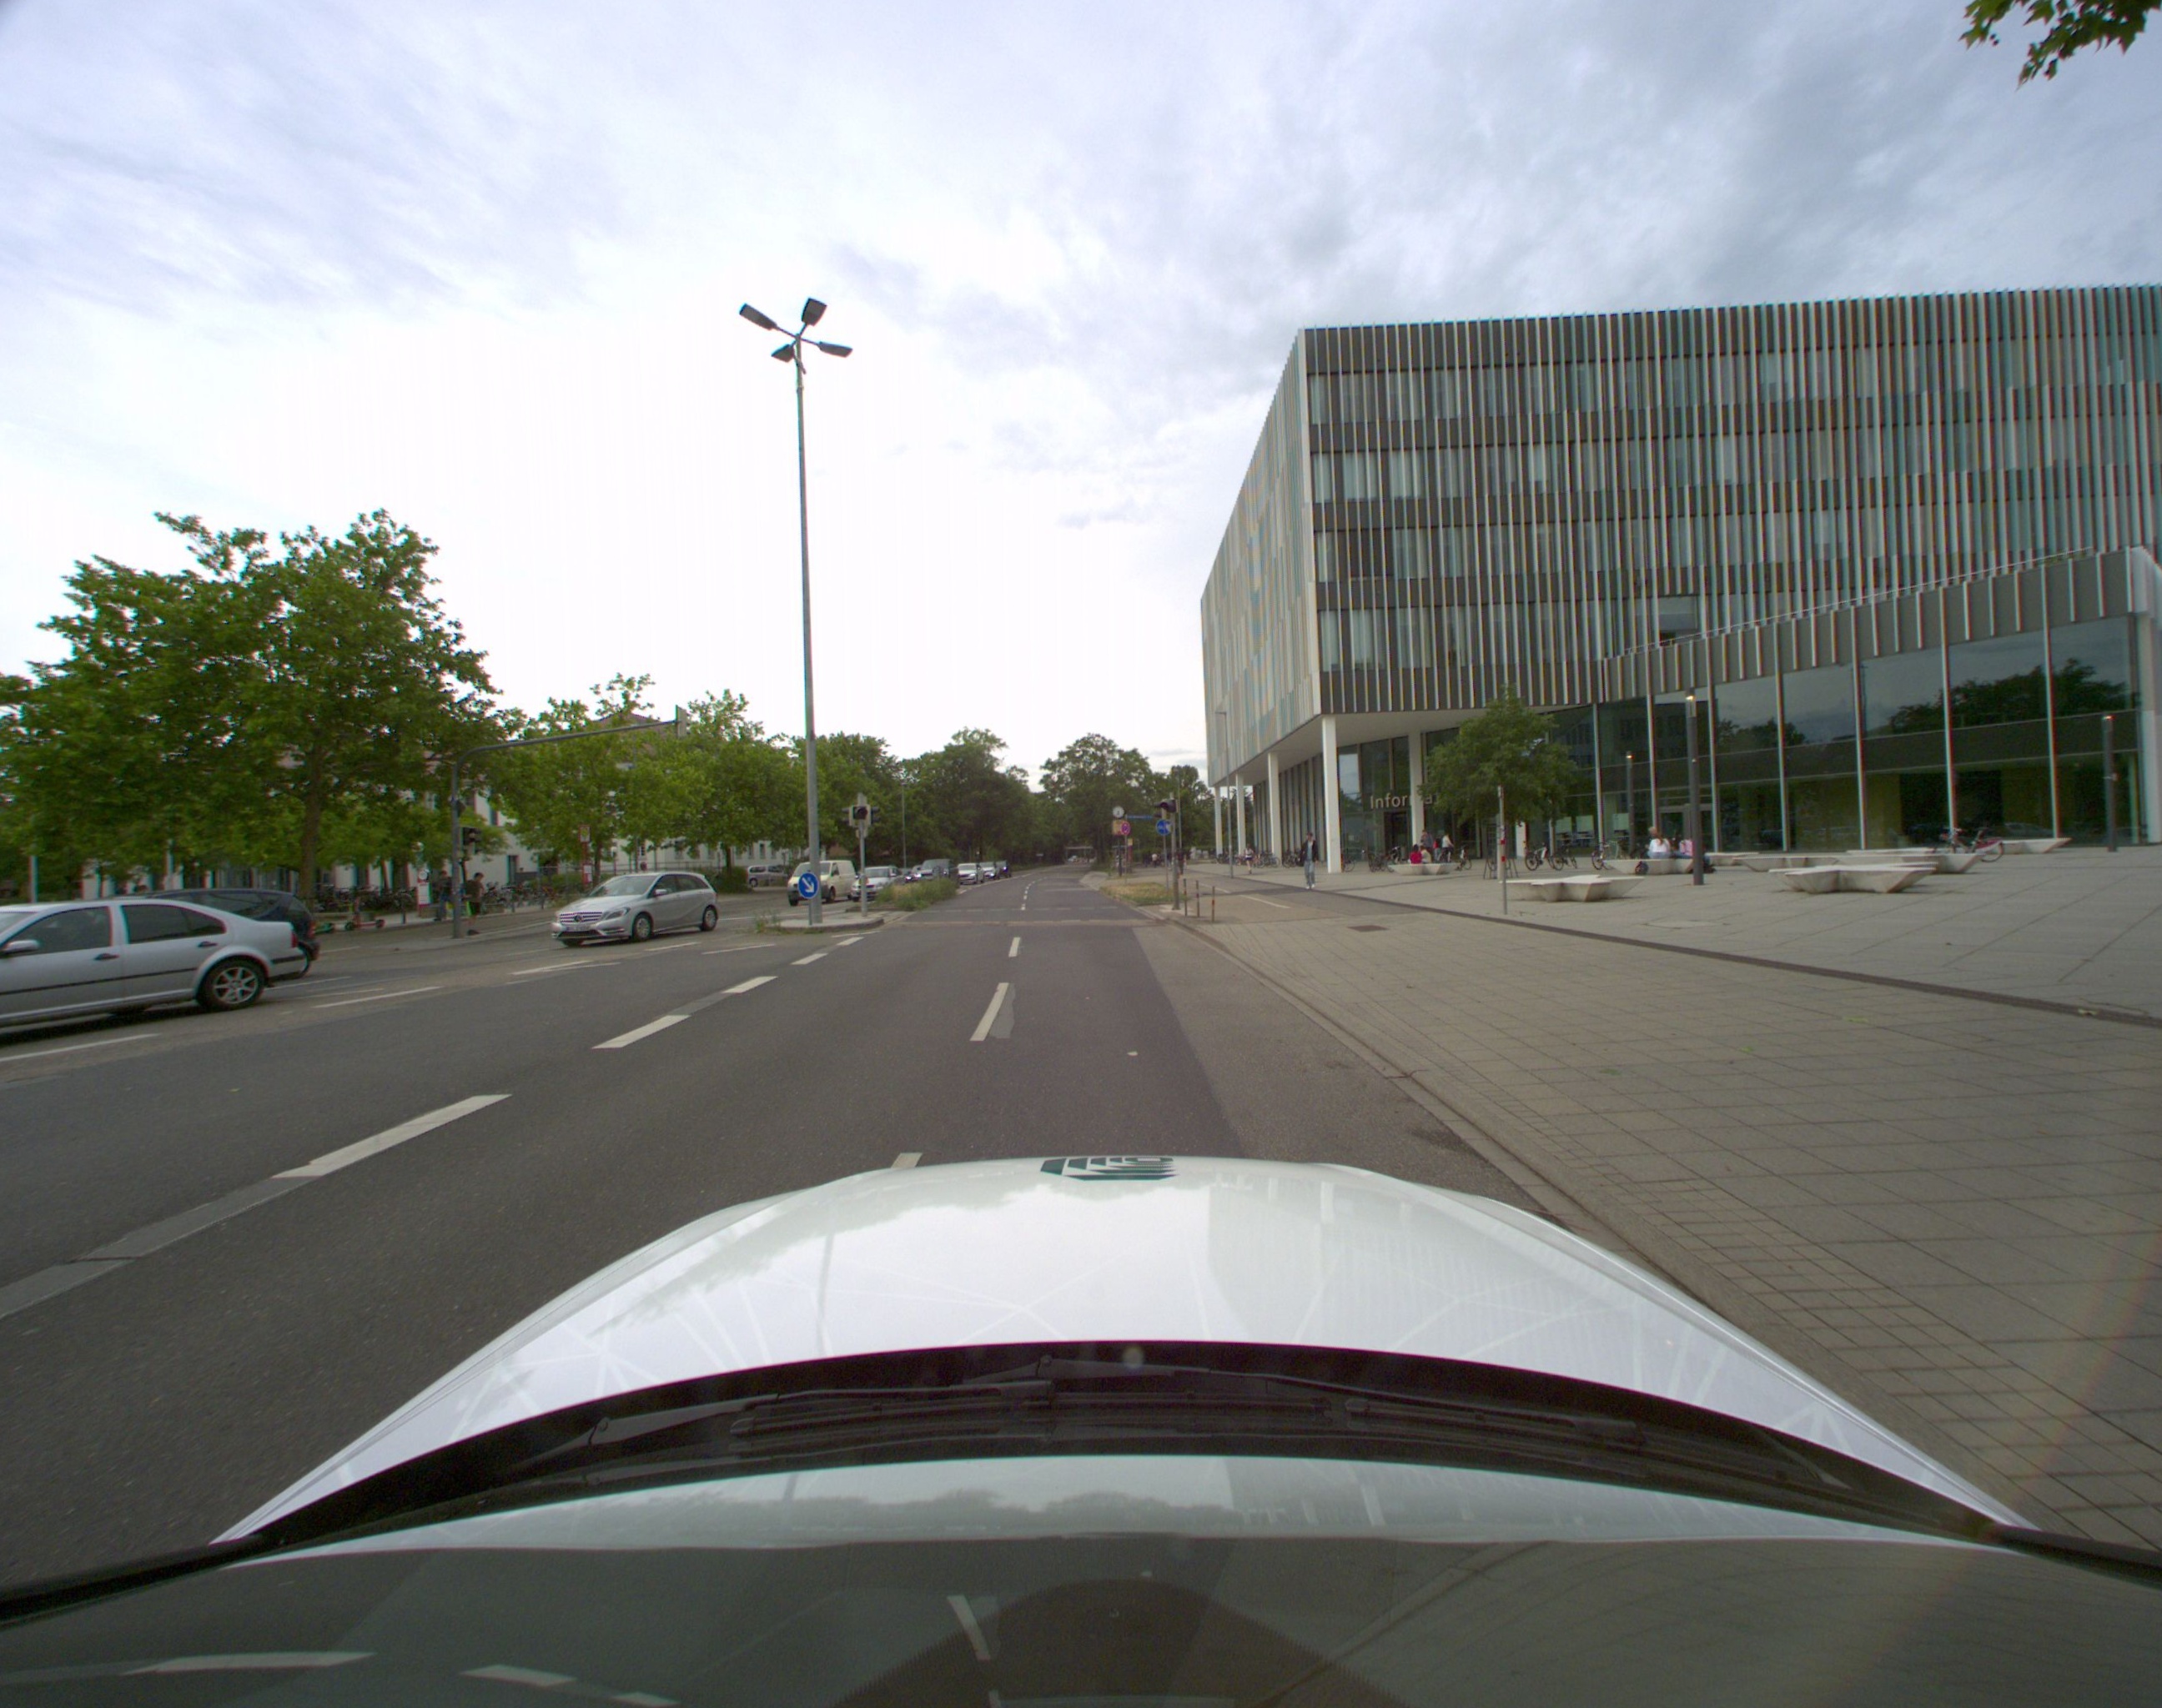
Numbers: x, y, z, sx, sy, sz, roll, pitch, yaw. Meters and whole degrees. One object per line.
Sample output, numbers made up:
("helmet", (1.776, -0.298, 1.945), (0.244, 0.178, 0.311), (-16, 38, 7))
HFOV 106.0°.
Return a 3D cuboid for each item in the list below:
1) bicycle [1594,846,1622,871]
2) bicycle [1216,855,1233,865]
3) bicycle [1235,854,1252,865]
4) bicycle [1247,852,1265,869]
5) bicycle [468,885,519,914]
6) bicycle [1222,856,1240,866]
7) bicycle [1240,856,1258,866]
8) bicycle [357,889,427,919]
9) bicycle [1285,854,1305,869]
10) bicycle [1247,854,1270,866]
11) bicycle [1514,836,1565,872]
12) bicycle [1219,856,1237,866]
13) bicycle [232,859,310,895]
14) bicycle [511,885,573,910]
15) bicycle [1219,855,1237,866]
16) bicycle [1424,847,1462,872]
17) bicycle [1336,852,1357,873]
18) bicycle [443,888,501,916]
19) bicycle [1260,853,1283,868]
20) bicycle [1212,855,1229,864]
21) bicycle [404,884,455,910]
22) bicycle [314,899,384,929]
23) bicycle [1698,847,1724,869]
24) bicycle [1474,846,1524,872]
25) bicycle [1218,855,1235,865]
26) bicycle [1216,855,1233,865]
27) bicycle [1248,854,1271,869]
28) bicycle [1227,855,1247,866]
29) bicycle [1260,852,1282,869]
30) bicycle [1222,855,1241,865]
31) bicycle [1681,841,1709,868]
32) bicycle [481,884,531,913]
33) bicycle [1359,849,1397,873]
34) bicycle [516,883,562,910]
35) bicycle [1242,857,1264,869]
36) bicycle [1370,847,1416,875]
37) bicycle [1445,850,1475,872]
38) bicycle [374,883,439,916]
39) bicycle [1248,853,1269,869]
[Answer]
("bicycle", (19.934, 0.162, 30.778), (1.364, 0.899, 0.536), (-2, -1, -43))
("bicycle", (14.324, 0.635, 81.230), (1.600, 0.875, 0.556), (-4, -1, 2))
("bicycle", (13.562, 0.460, 68.153), (1.278, 0.875, 0.556), (-4, -1, 2))
("bicycle", (12.377, 0.461, 57.647), (0.634, 1.140, 2.199), (-5, -1, -2))
("bicycle", (-34.920, 2.707, 48.456), (2.393, 1.594, 0.721), (-3, -1, -3))
("bicycle", (14.593, 0.634, 79.017), (1.600, 0.875, 0.556), (-4, -1, 2))
("bicycle", (14.442, 0.579, 70.042), (1.429, 0.746, 0.556), (-4, -1, 2))
("bicycle", (-34.817, 2.526, 41.186), (2.811, 1.329, 0.721), (-3, -1, -3))
("bicycle", (13.972, 0.480, 53.109), (1.495, 0.929, 0.435), (-3, 1, -38))
("bicycle", (13.571, 0.466, 62.359), (1.600, 0.875, 0.556), (-3, -1, 2))
("bicycle", (18.768, -0.009, 33.335), (2.009, 1.306, 0.641), (-4, 1, -20))
("bicycle", (14.454, 0.655, 80.210), (1.600, 0.875, 0.556), (-4, -1, 2))
("bicycle", (-37.250, 1.050, 37.470), (2.653, 1.559, 0.780), (-3, -1, -4))
("bicycle", (-28.891, 2.322, 43.697), (2.739, 1.174, 0.721), (-3, -1, -3))
("bicycle", (13.242, 0.591, 73.386), (1.526, 0.833, 0.556), (-4, -1, 2))
("bicycle", (16.439, 0.248, 36.993), (1.970, 1.002, 0.765), (-2, -1, -40))
("bicycle", (13.854, 0.448, 42.541), (0.635, 1.061, 1.844), (-1, 0, 6))
("bicycle", (-28.754, 2.266, 38.500), (2.034, 1.153, 0.717), (-3, -1, -17))
("bicycle", (14.094, 0.486, 60.284), (1.595, 0.936, 0.571), (-5, 0, 12))
("bicycle", (14.129, 0.574, 82.782), (1.600, 0.875, 0.556), (-4, -1, 2))
("bicycle", (-41.210, 2.716, 51.515), (3.053, 1.559, 0.927), (-3, -1, 19))
("bicycle", (-34.601, 2.826, 38.490), (2.529, 1.269, 0.721), (-3, -1, -3))
("bicycle", (22.385, 0.141, 28.931), (1.193, 0.691, 0.485), (-4, 1, -43))
("bicycle", (17.841, 0.193, 34.729), (2.198, 1.006, 0.774), (-3, -1, -29))
("bicycle", (13.330, 0.564, 74.617), (1.449, 0.839, 0.556), (-4, -1, 2))
("bicycle", (14.400, 0.630, 81.815), (1.600, 0.875, 0.556), (-4, -1, 2))
("bicycle", (13.552, 0.536, 61.781), (1.600, 0.982, 0.556), (-5, -1, 2))
("bicycle", (13.197, 0.535, 68.908), (1.600, 0.875, 0.556), (-4, -1, 2))
("bicycle", (12.777, 0.414, 54.832), (0.607, 1.080, 1.956), (-4, 0, -10))
("bicycle", (14.365, 0.542, 77.751), (1.600, 0.874, 0.556), (-4, -1, 2))
("bicycle", (22.015, 0.017, 29.193), (1.560, 0.899, 0.503), (-2, -1, -43))
("bicycle", (-35.031, 2.714, 49.622), (2.393, 1.594, 0.721), (-3, -1, -3))
("bicycle", (14.737, 0.349, 40.374), (2.195, 1.115, 0.727), (-2, -1, -42))
("bicycle", (-35.184, 2.729, 52.846), (2.393, 1.594, 0.721), (-3, -1, -3))
("bicycle", (13.633, 0.703, 64.613), (1.600, 0.875, 0.556), (-3, -1, 2))
("bicycle", (14.955, 0.332, 38.967), (2.734, 1.188, 0.765), (-2, -1, -40))
("bicycle", (16.945, 0.298, 36.378), (0.663, 0.899, 1.857), (-3, -1, 43))
("bicycle", (-35.010, 2.361, 42.299), (2.443, 1.559, 0.920), (-2, -1, -9))
("bicycle", (13.303, 0.525, 61.217), (1.395, 1.043, 0.559), (-5, -1, 2))
